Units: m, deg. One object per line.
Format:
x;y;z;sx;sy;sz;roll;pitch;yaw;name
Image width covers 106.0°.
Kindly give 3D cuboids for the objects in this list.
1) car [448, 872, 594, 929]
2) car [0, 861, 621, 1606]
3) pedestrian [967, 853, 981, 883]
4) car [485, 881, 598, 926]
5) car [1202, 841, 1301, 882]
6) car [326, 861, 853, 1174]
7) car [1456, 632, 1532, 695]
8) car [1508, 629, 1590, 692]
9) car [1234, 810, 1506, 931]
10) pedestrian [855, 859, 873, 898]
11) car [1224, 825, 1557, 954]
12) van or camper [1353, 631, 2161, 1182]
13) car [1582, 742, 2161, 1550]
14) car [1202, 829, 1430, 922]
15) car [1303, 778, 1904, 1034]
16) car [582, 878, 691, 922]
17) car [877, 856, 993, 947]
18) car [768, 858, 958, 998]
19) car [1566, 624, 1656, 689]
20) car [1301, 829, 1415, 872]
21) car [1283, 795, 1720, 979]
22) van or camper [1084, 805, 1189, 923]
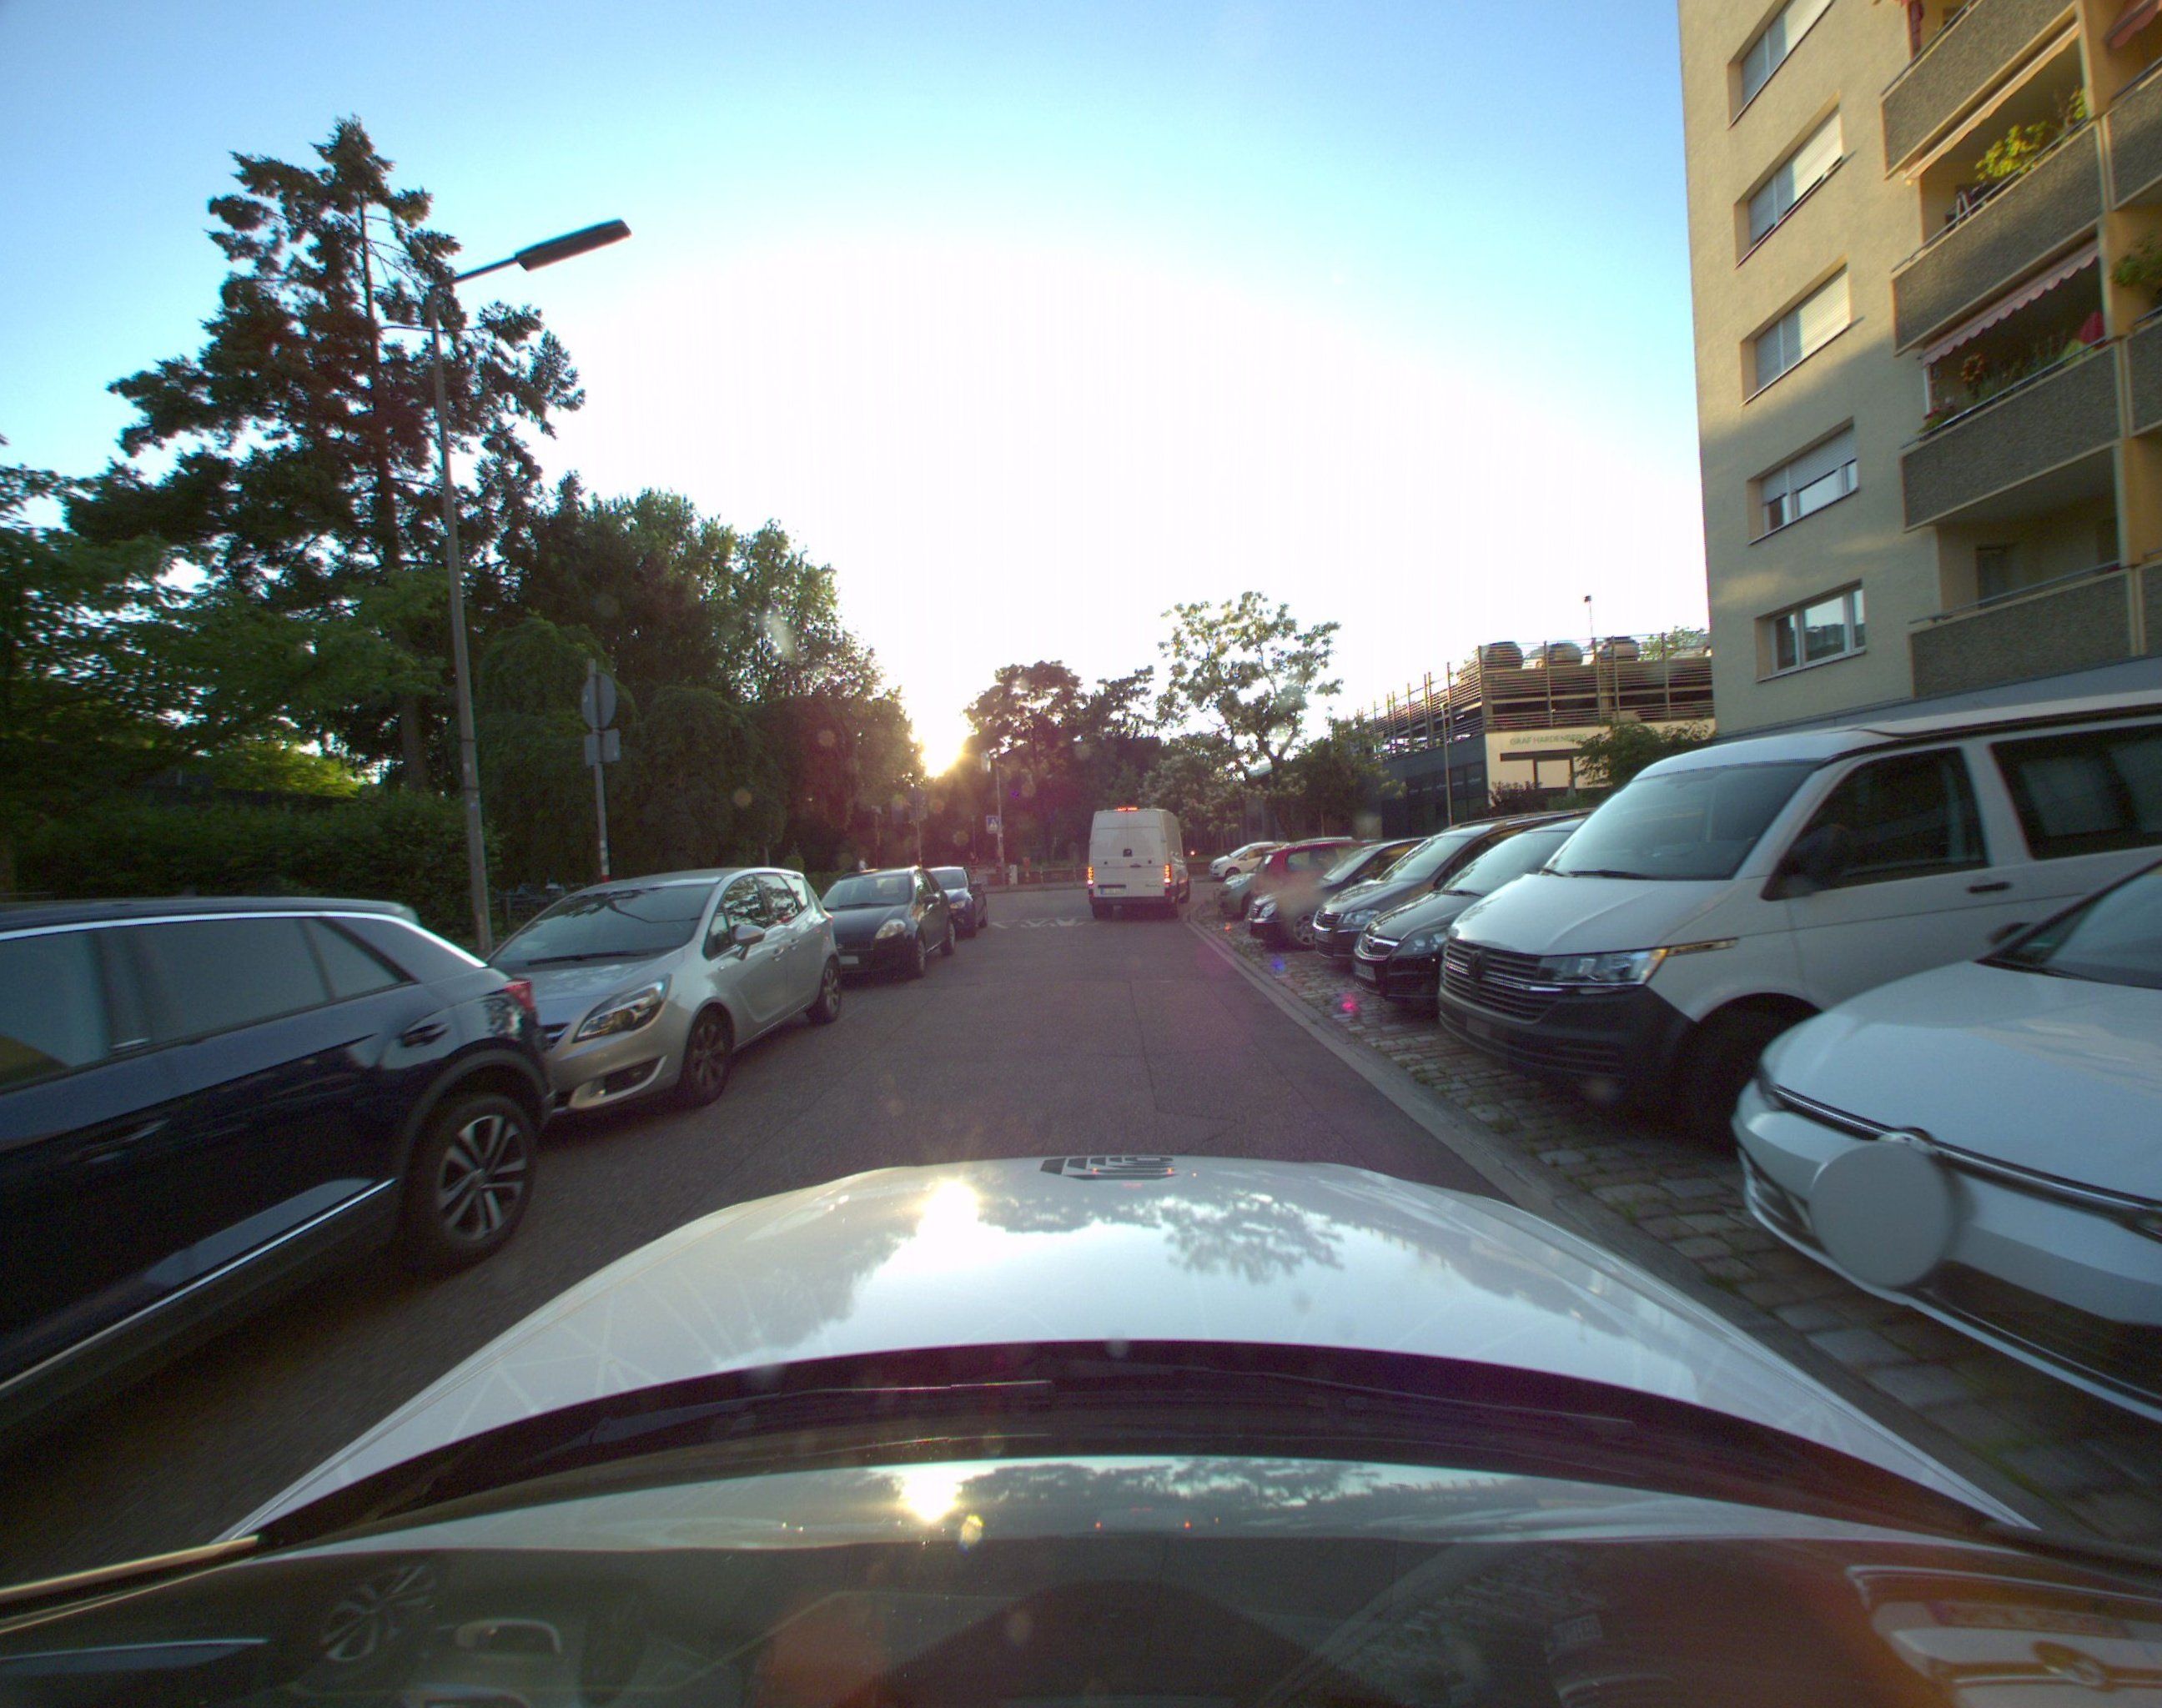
-20.961;1.741;30.599;4.211;1.799;1.824;-4;-3;3;car
-3.220;0.879;2.042;1.729;1.567;4.165;-4;0;-1;car
-6.024;0.773;45.839;0.644;1.649;0.674;-1;0;1;pedestrian
-24.834;2.259;37.597;3.852;1.562;1.826;-4;6;4;car
7.410;0.303;35.630;3.843;1.574;1.957;-2;0;-1;car
-3.297;0.918;6.590;1.729;1.567;4.127;-4;0;-1;car
20.137;-9.265;39.902;1.983;2.013;4.007;-2;0;6;car
22.681;-9.331;39.656;1.983;2.013;4.007;-2;0;6;car
5.302;0.297;15.438;4.385;1.631;1.847;-7;-1;3;car
-10.326;1.153;38.800;0.591;1.809;0.621;-2;0;2;pedestrian
4.634;0.541;12.680;4.391;1.531;1.844;-4;-2;-2;car
4.581;0.119;4.756;5.118;2.167;2.039;-6;-1;-1;van or camper
4.344;0.464;2.481;4.389;1.631;1.845;-4;-2;0;car
5.047;0.473;17.929;4.391;1.631;1.844;-4;-2;-1;car
4.524;0.442;7.540;4.314;1.661;1.780;-6;-2;-2;car
-20.130;2.061;36.966;3.831;1.491;1.828;-3;6;7;car
-2.939;0.901;17.184;1.729;1.567;3.788;-4;0;-2;car
-2.937;0.914;11.800;1.729;1.567;3.695;-4;0;-2;car
25.399;-9.430;39.215;1.983;2.013;4.007;-2;0;6;car
11.884;-0.139;35.179;4.272;1.503;1.826;-4;0;5;car
5.021;0.401;10.177;4.392;1.661;1.844;-6;-2;-2;car
1.660;0.208;21.467;1.981;2.618;6.422;0;0;11;van or camper
